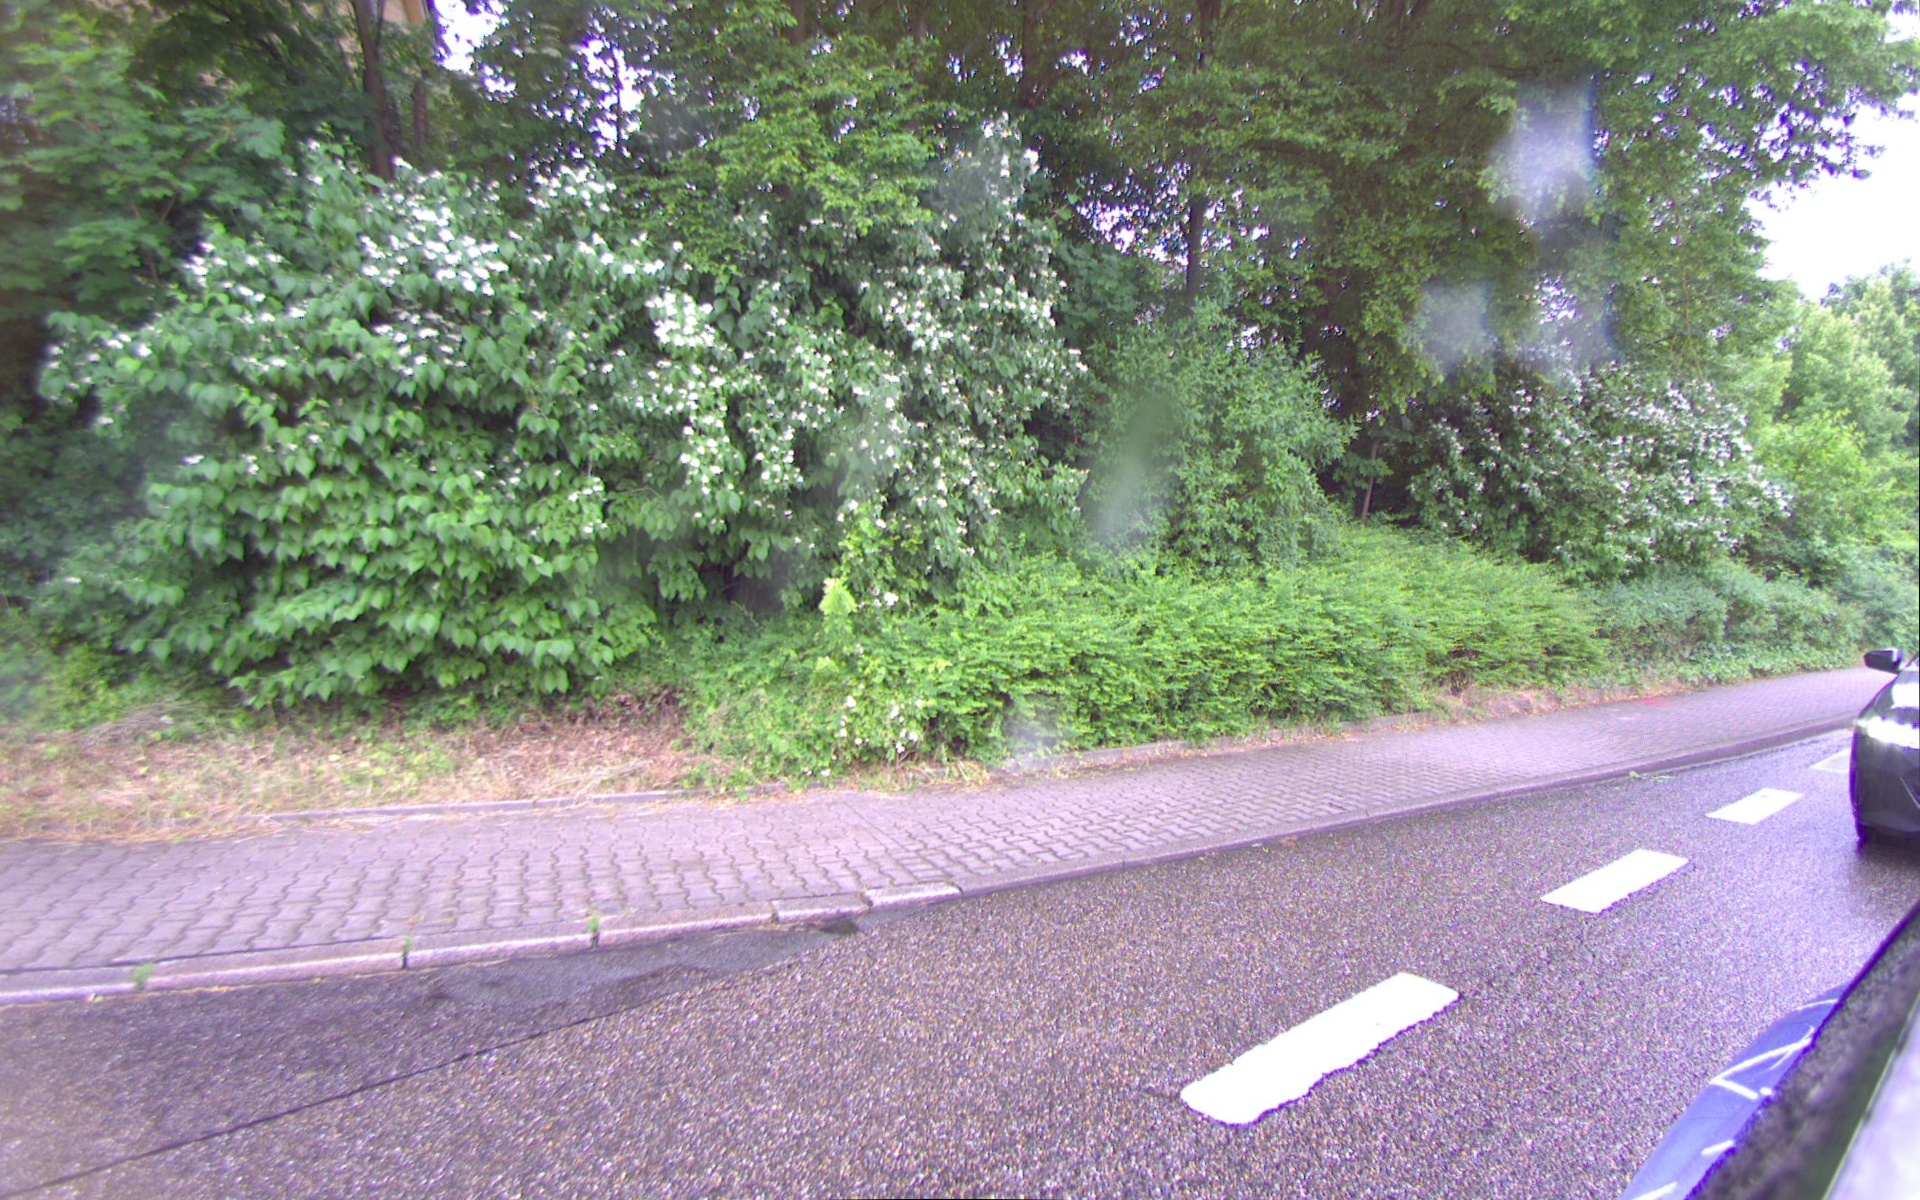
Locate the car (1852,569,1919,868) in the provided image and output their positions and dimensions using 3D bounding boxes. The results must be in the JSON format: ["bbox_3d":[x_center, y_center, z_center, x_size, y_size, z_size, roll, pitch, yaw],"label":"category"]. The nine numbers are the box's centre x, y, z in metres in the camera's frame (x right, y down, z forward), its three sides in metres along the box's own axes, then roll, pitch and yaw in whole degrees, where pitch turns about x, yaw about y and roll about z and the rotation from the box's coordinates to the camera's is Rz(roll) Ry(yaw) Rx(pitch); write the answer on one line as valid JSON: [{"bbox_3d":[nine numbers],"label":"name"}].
[{"bbox_3d":[7.064,0.621,6.179,4.048,1.574,1.867,-2,3,-41],"label":"car"}]
